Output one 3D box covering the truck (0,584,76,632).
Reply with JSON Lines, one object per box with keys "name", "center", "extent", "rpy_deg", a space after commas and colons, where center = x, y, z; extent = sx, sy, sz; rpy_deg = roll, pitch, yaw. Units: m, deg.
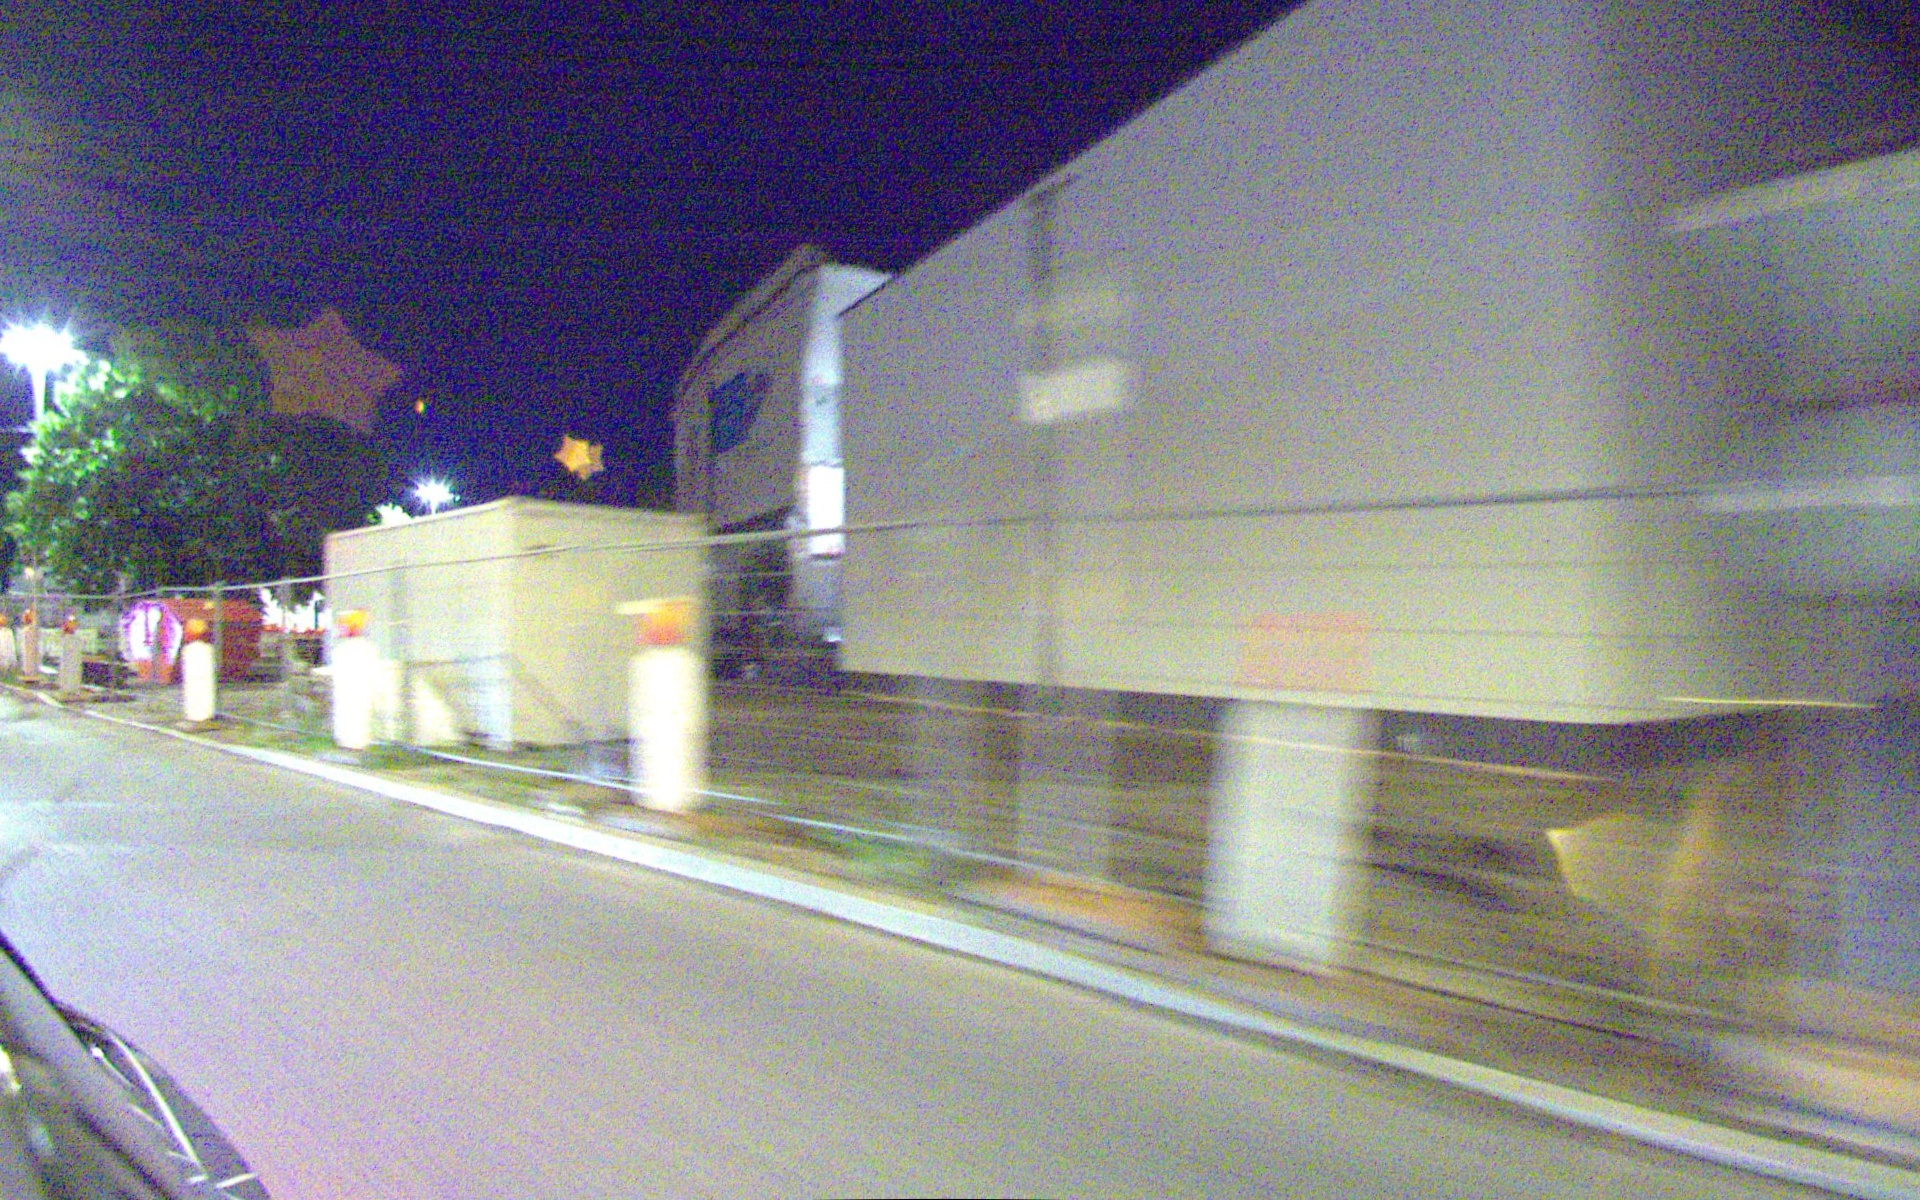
{"name": "truck", "center": [-73.208, 0.632, 79.062], "extent": [6.107, 3.722, 2.406], "rpy_deg": [1, -1, -38]}
